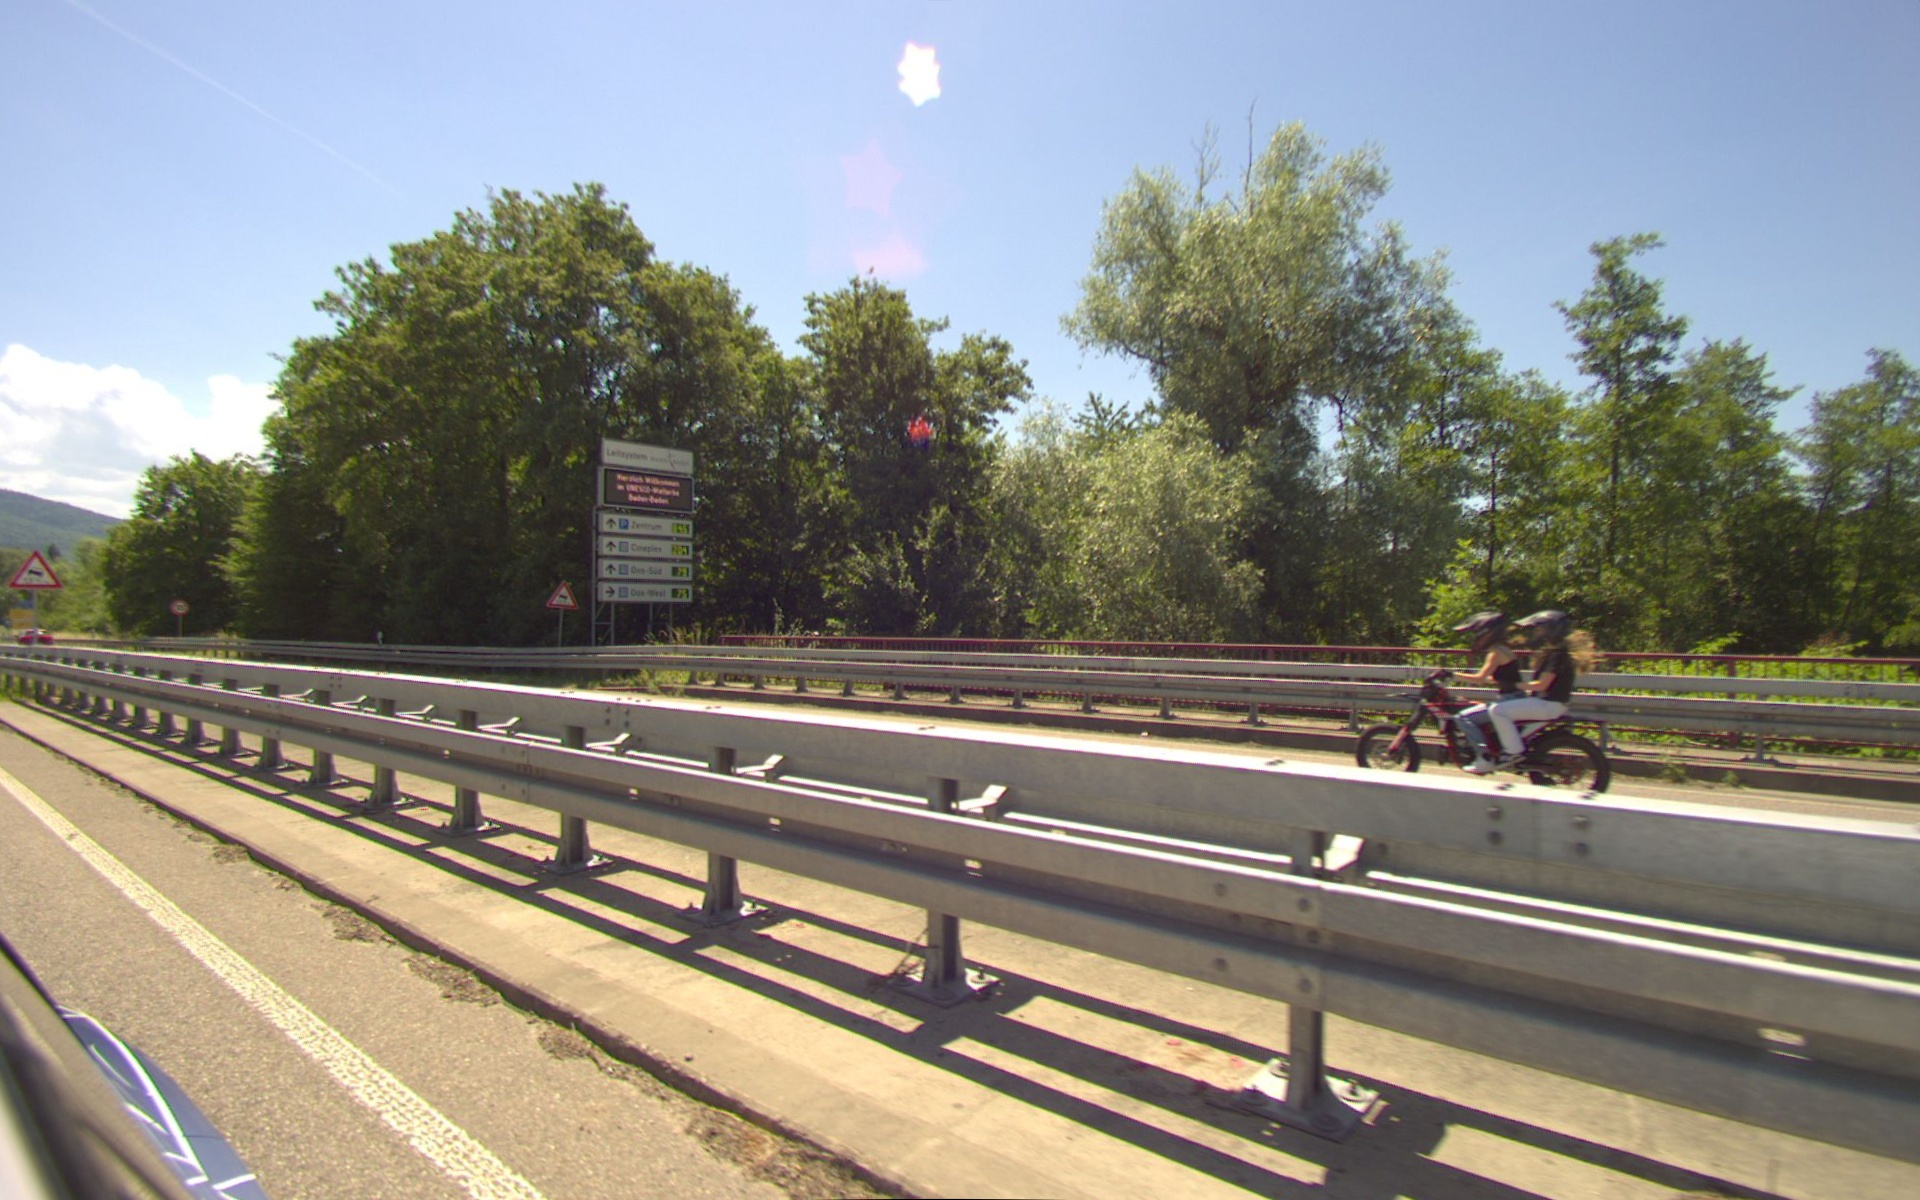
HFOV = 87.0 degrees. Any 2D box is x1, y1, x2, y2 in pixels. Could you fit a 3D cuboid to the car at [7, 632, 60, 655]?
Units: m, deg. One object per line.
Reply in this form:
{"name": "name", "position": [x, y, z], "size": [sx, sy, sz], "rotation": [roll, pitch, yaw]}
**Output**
{"name": "car", "position": [-62.181, 2.909, 67.887], "size": [5.441, 1.505, 1.973], "rotation": [-2, -2, 41]}

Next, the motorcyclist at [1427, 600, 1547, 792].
{"name": "motorcyclist", "position": [4.518, 0.785, 8.677], "size": [0.776, 1.552, 0.608], "rotation": [-1, -2, 41]}

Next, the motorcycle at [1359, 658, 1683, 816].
{"name": "motorcycle", "position": [4.655, 1.080, 8.560], "size": [2.312, 1.112, 0.608], "rotation": [-1, -2, 42]}

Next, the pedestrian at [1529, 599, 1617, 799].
{"name": "pedestrian", "position": [5.000, 0.776, 8.250], "size": [0.494, 1.552, 0.608], "rotation": [-1, -2, 41]}
